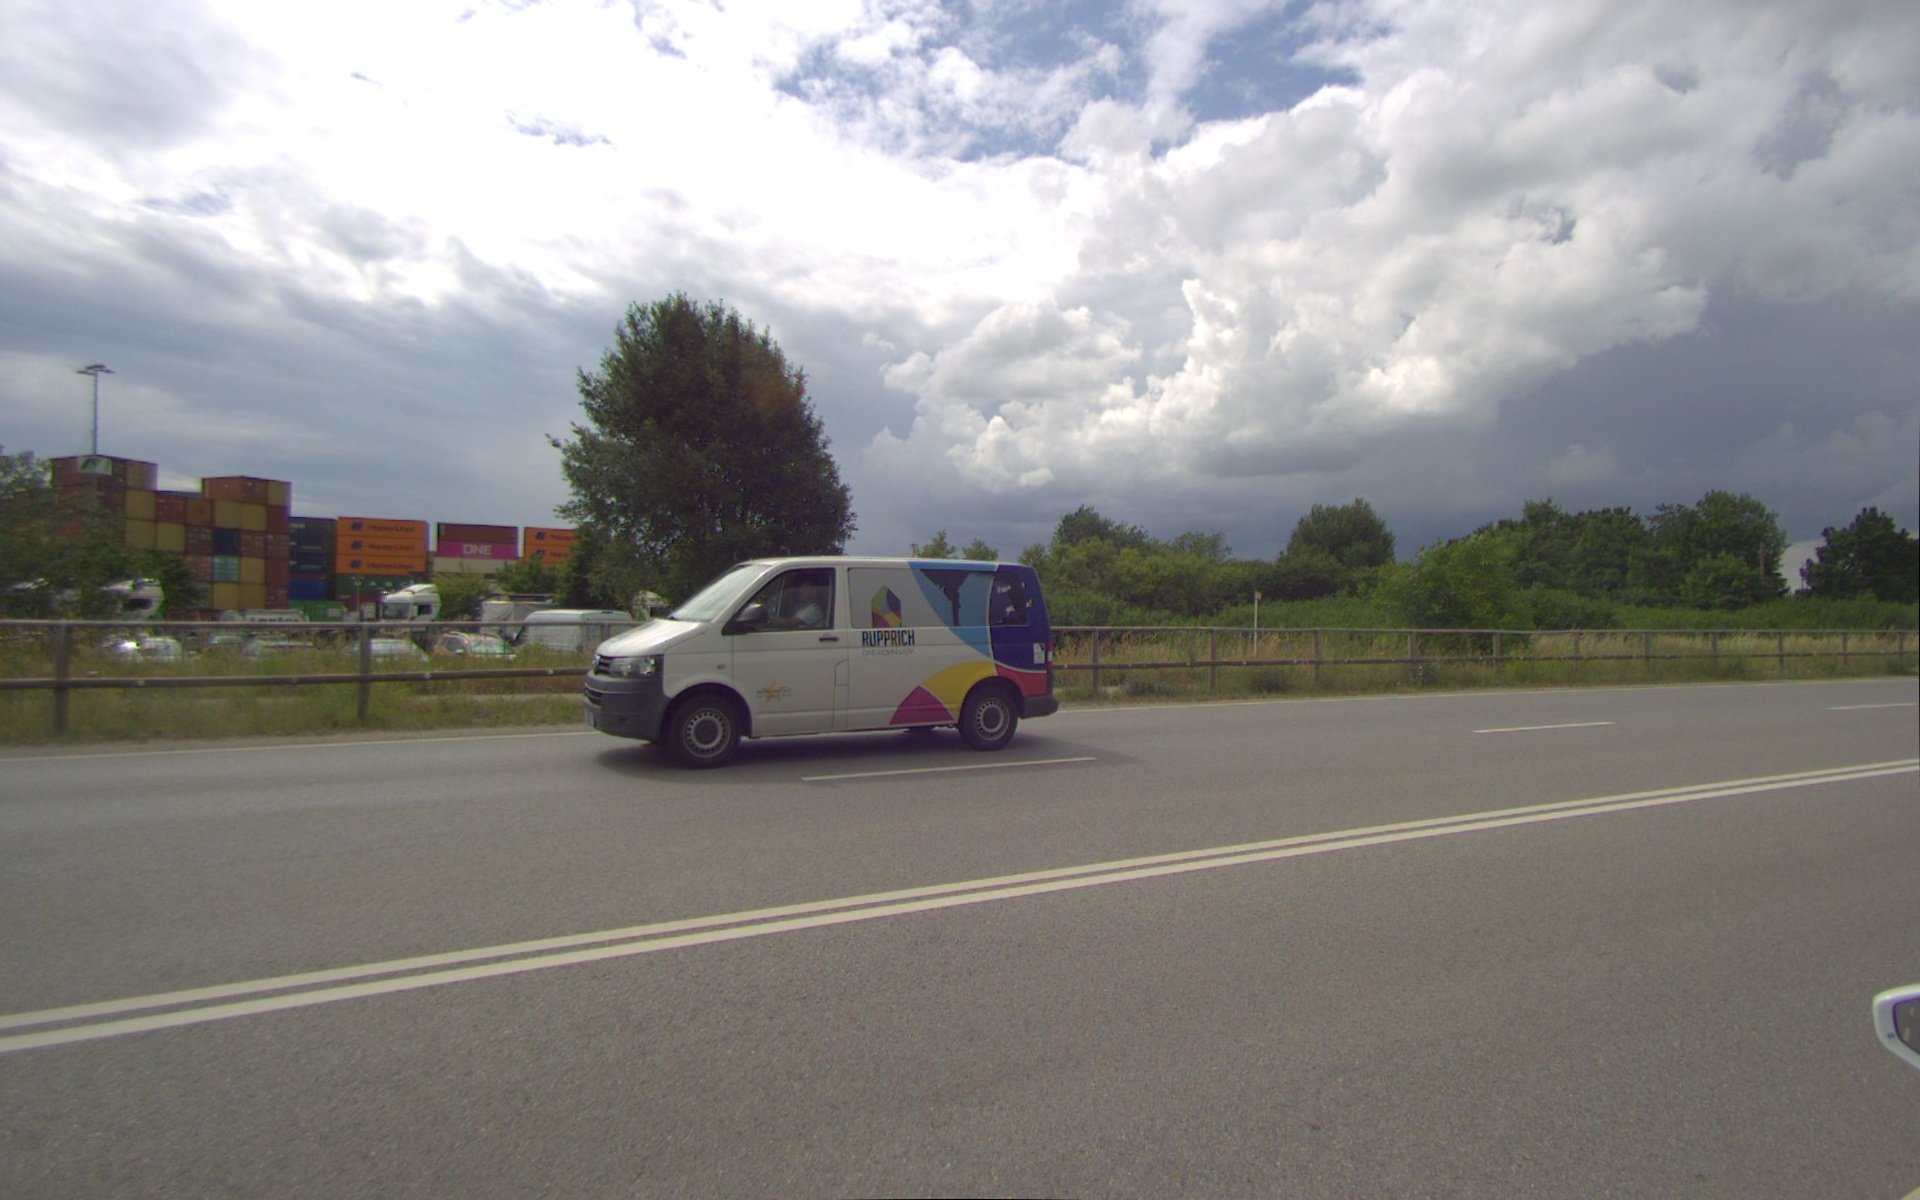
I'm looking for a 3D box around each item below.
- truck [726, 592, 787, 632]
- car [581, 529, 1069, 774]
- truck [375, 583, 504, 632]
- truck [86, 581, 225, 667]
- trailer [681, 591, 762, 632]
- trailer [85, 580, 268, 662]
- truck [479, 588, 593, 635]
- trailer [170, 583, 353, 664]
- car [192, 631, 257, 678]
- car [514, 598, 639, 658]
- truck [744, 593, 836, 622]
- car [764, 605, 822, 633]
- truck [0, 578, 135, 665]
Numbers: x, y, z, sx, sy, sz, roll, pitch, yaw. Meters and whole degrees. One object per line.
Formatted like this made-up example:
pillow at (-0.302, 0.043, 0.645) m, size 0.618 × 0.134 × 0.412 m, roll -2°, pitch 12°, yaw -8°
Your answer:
truck at (-14.139, 0.820, 69.759) m, size 3.688 × 2.713 × 1.983 m, roll 1°, pitch 0°, yaw -31°
car at (-1.327, 0.468, 10.408) m, size 4.612 × 2.040 × 1.984 m, roll 1°, pitch 0°, yaw -30°
truck at (-30.814, 0.442, 59.771) m, size 2.602 × 2.718 × 6.651 m, roll 1°, pitch 0°, yaw 24°
truck at (-42.647, 1.239, 53.409) m, size 2.155 × 4.350 × 5.431 m, roll 1°, pitch 0°, yaw 19°
trailer at (-16.236, 0.810, 68.467) m, size 5.011 × 2.695 × 1.983 m, roll 1°, pitch 0°, yaw -31°
trailer at (-44.958, 1.178, 58.049) m, size 2.155 × 4.350 × 8.501 m, roll 1°, pitch 0°, yaw 19°
truck at (-26.142, 0.715, 62.287) m, size 2.602 × 2.718 × 6.653 m, roll 1°, pitch 0°, yaw 22°
trailer at (-40.726, 1.337, 59.089) m, size 2.155 × 4.350 × 9.380 m, roll 1°, pitch 0°, yaw 19°
car at (-30.734, 2.237, 41.926) m, size 1.830 × 1.742 × 3.951 m, roll 1°, pitch 0°, yaw -41°
car at (-12.827, 0.873, 33.472) m, size 4.517 × 1.758 × 1.990 m, roll 2°, pitch 1°, yaw 41°
truck at (-13.797, 0.612, 81.587) m, size 7.033 × 2.040 × 1.989 m, roll 2°, pitch 0°, yaw -23°
car at (-12.976, 1.505, 78.090) m, size 3.957 × 2.040 × 1.982 m, roll 2°, pitch 0°, yaw -33°
truck at (-46.740, 1.087, 52.733) m, size 2.155 × 4.350 × 4.855 m, roll 1°, pitch 0°, yaw 19°
